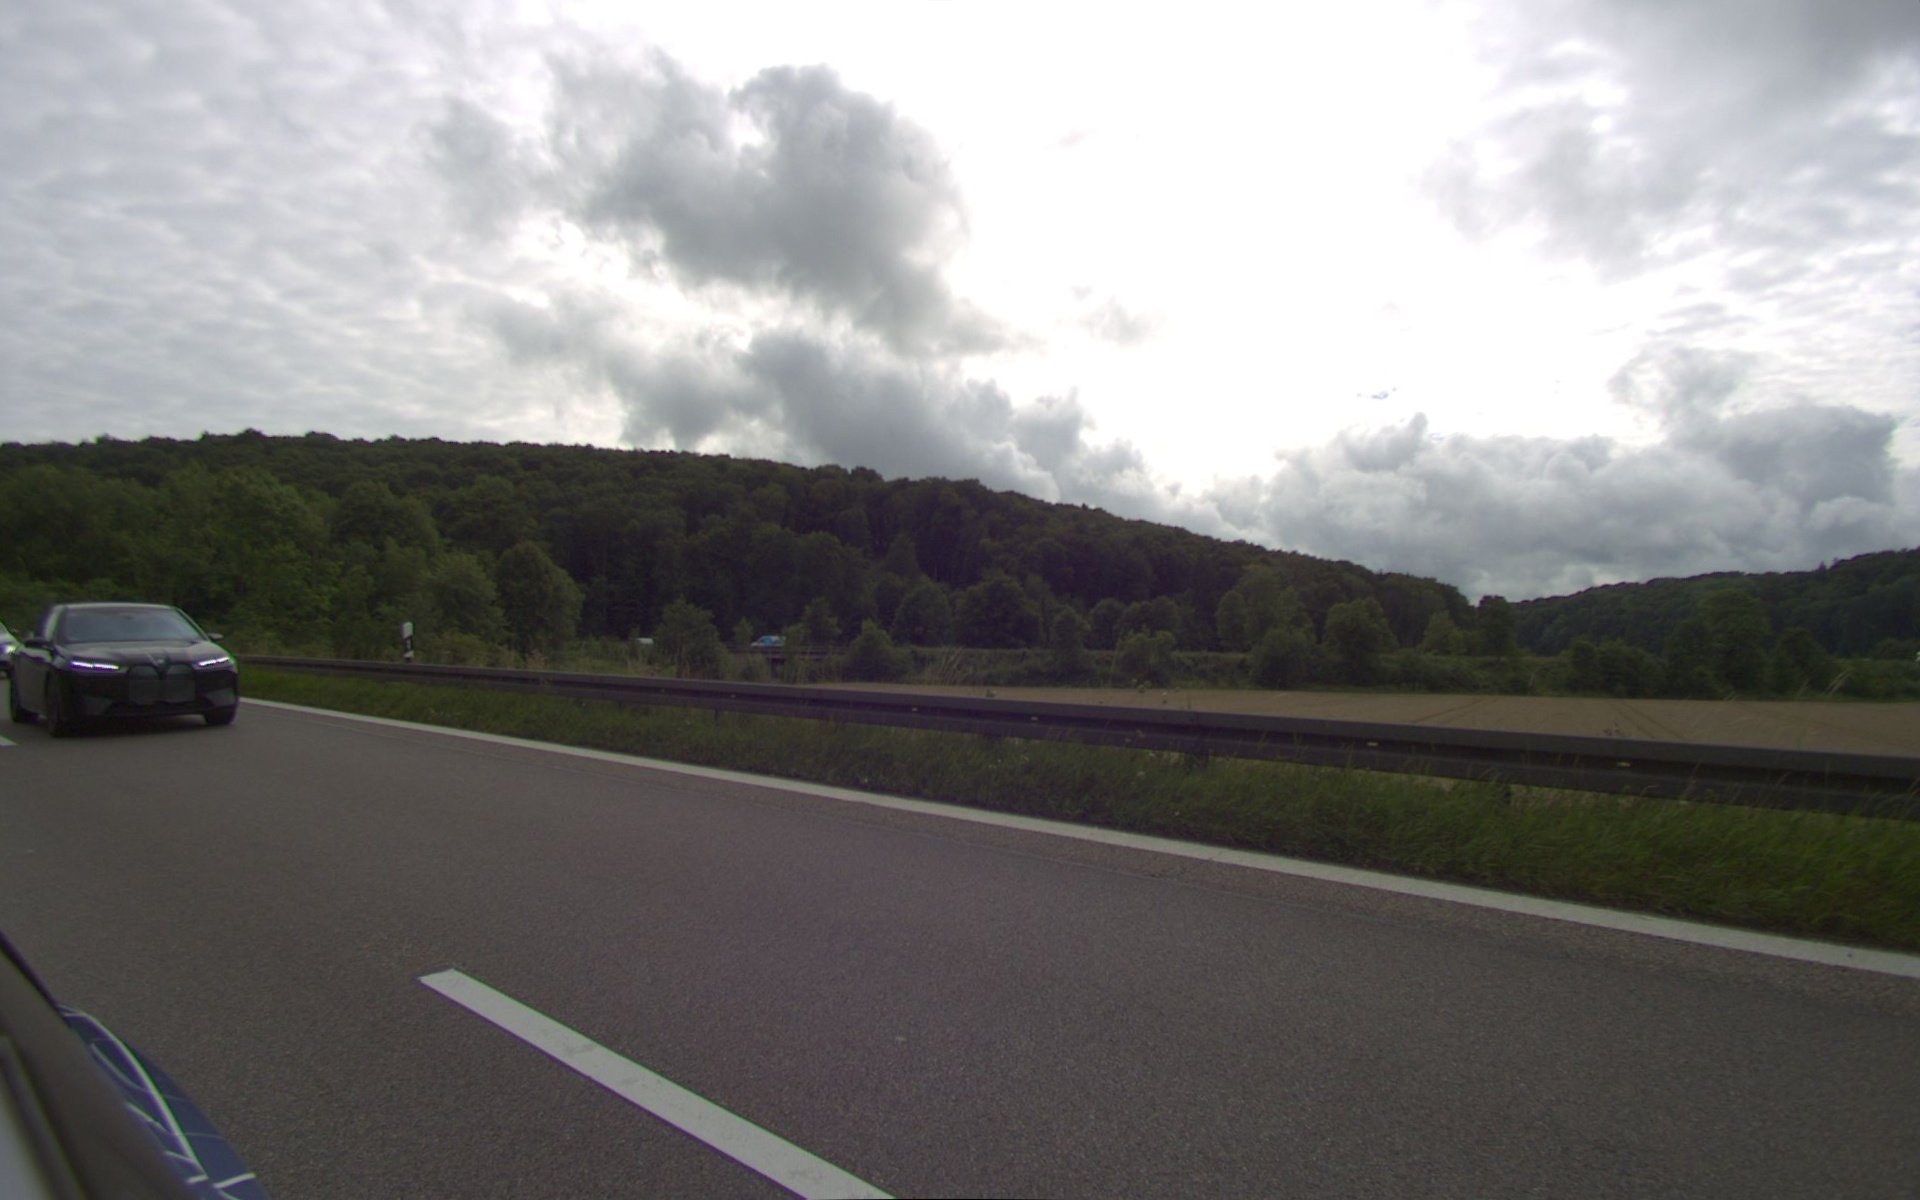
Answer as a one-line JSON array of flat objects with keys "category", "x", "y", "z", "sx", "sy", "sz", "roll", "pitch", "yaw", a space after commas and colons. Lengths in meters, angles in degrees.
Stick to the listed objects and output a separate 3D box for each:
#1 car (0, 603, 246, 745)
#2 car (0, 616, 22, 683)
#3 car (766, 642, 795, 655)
[{"category": "car", "x": -11.767, "y": 0.897, "z": 14.109, "sx": 4.412, "sy": 1.678, "sz": 1.973, "roll": -1, "pitch": -1, "yaw": 41}, {"category": "car", "x": -26.145, "y": 1.241, "z": 26.332, "sx": 4.411, "sy": 1.678, "sz": 1.974, "roll": 0, "pitch": -1, "yaw": 39}, {"category": "car", "x": -29.655, "y": 8.032, "z": 167.372, "sx": 4.393, "sy": 1.822, "sz": 2.001, "roll": 3, "pitch": -5, "yaw": -2}]
